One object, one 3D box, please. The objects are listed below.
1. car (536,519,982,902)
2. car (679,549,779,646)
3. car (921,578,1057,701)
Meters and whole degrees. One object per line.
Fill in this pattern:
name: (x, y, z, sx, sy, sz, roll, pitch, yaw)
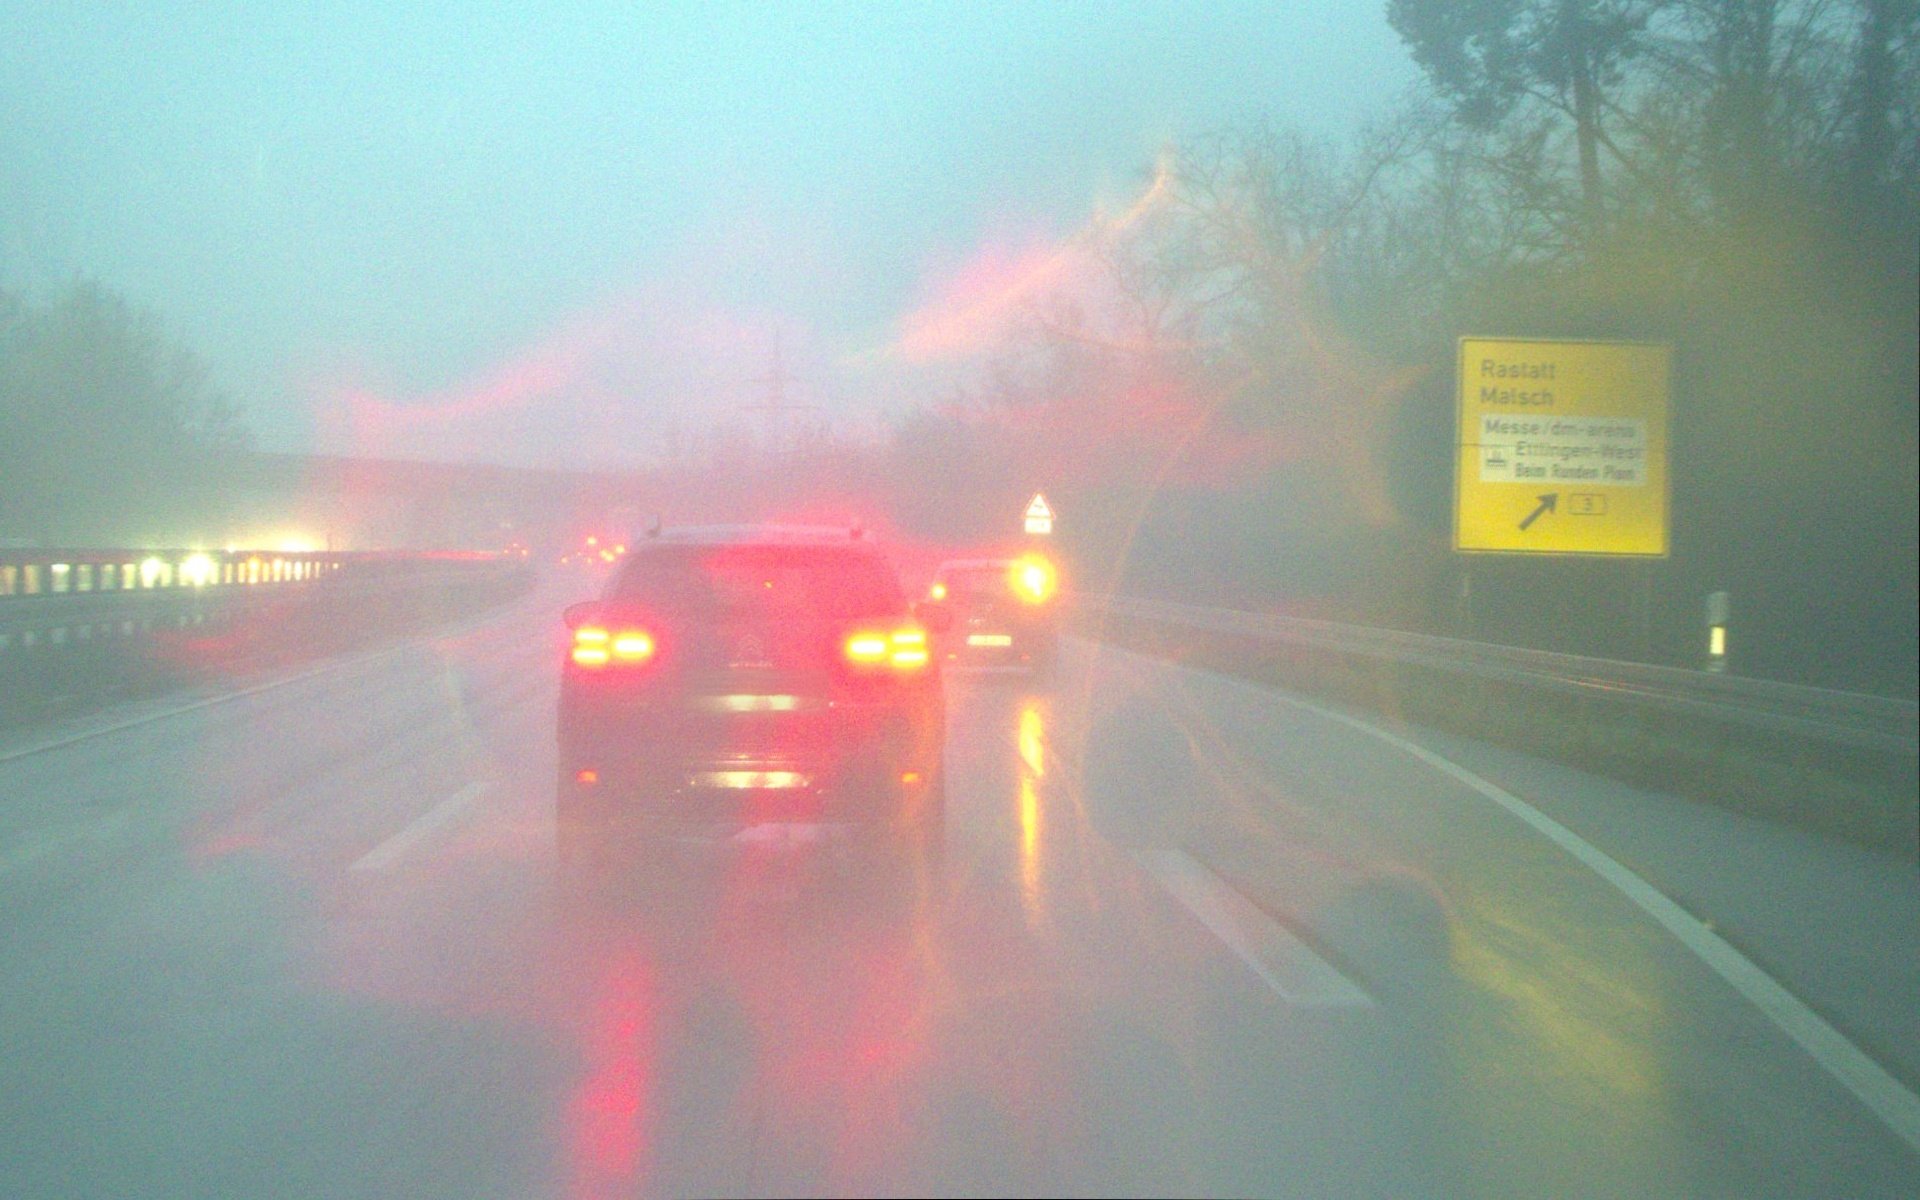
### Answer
car: (-0.991, 0.477, 17.434, 1.992, 1.709, 3.830, 1, 1, -3)
car: (-4.936, -0.069, 73.973, 1.993, 2.007, 4.000, 1, 1, -2)
car: (0.330, 0.455, 42.133, 1.569, 1.403, 3.646, 1, 1, 0)
